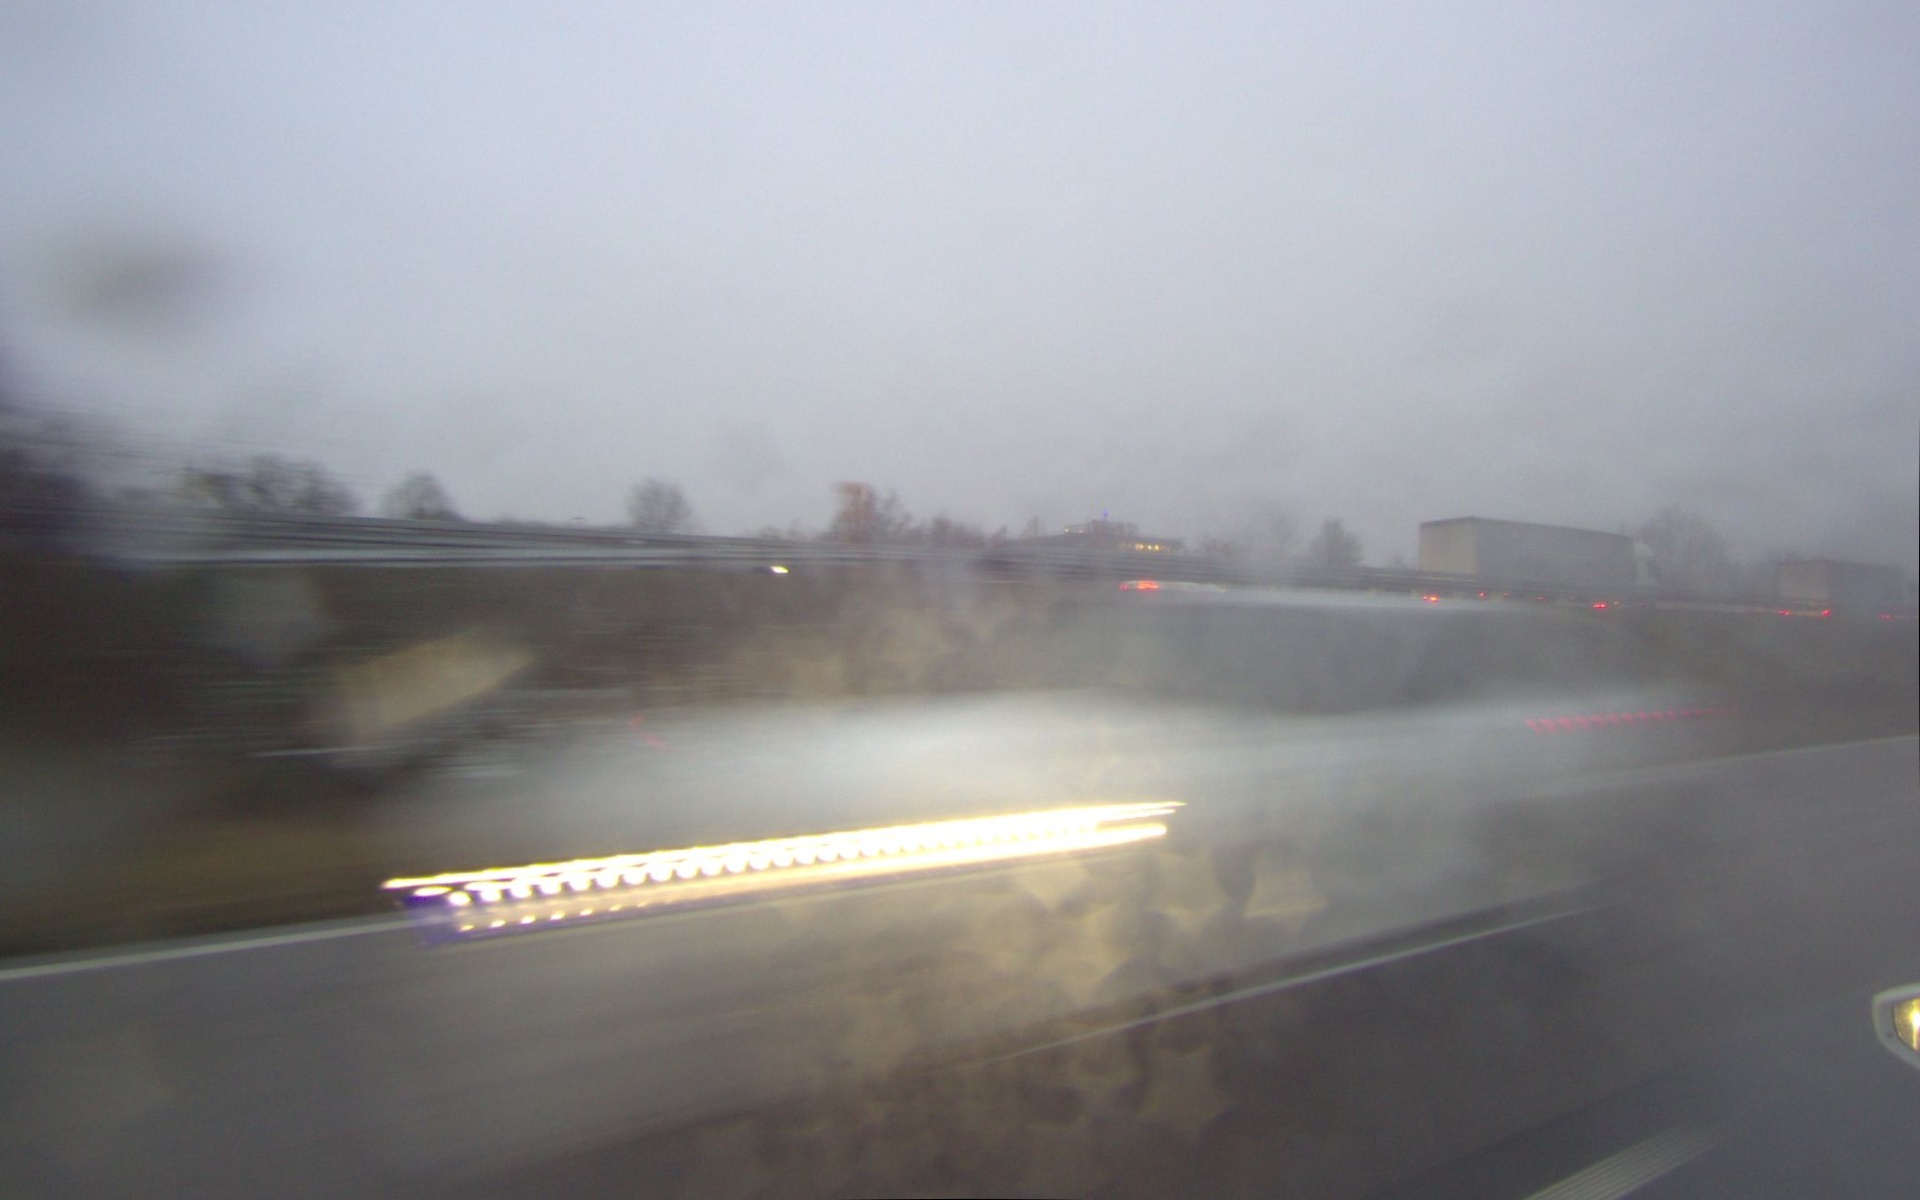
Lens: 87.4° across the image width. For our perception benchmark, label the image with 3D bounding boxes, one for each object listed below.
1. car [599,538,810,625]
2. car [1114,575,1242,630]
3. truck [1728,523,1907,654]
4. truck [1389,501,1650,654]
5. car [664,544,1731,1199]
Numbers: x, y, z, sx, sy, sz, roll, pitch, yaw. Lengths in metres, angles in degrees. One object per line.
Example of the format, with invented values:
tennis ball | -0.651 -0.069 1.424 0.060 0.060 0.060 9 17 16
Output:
car | -6.715 -0.419 26.567 5.045 2.040 1.984 2 0 -30
car | 8.824 0.138 40.543 5.045 2.040 1.984 2 0 -30
truck | 66.578 -0.244 76.770 7.466 7.815 39.895 1 0 45
truck | 26.834 -0.735 47.577 15.566 6.372 3.743 2 0 -32
car | 1.201 0.713 4.286 4.434 1.612 1.777 1 0 -30
